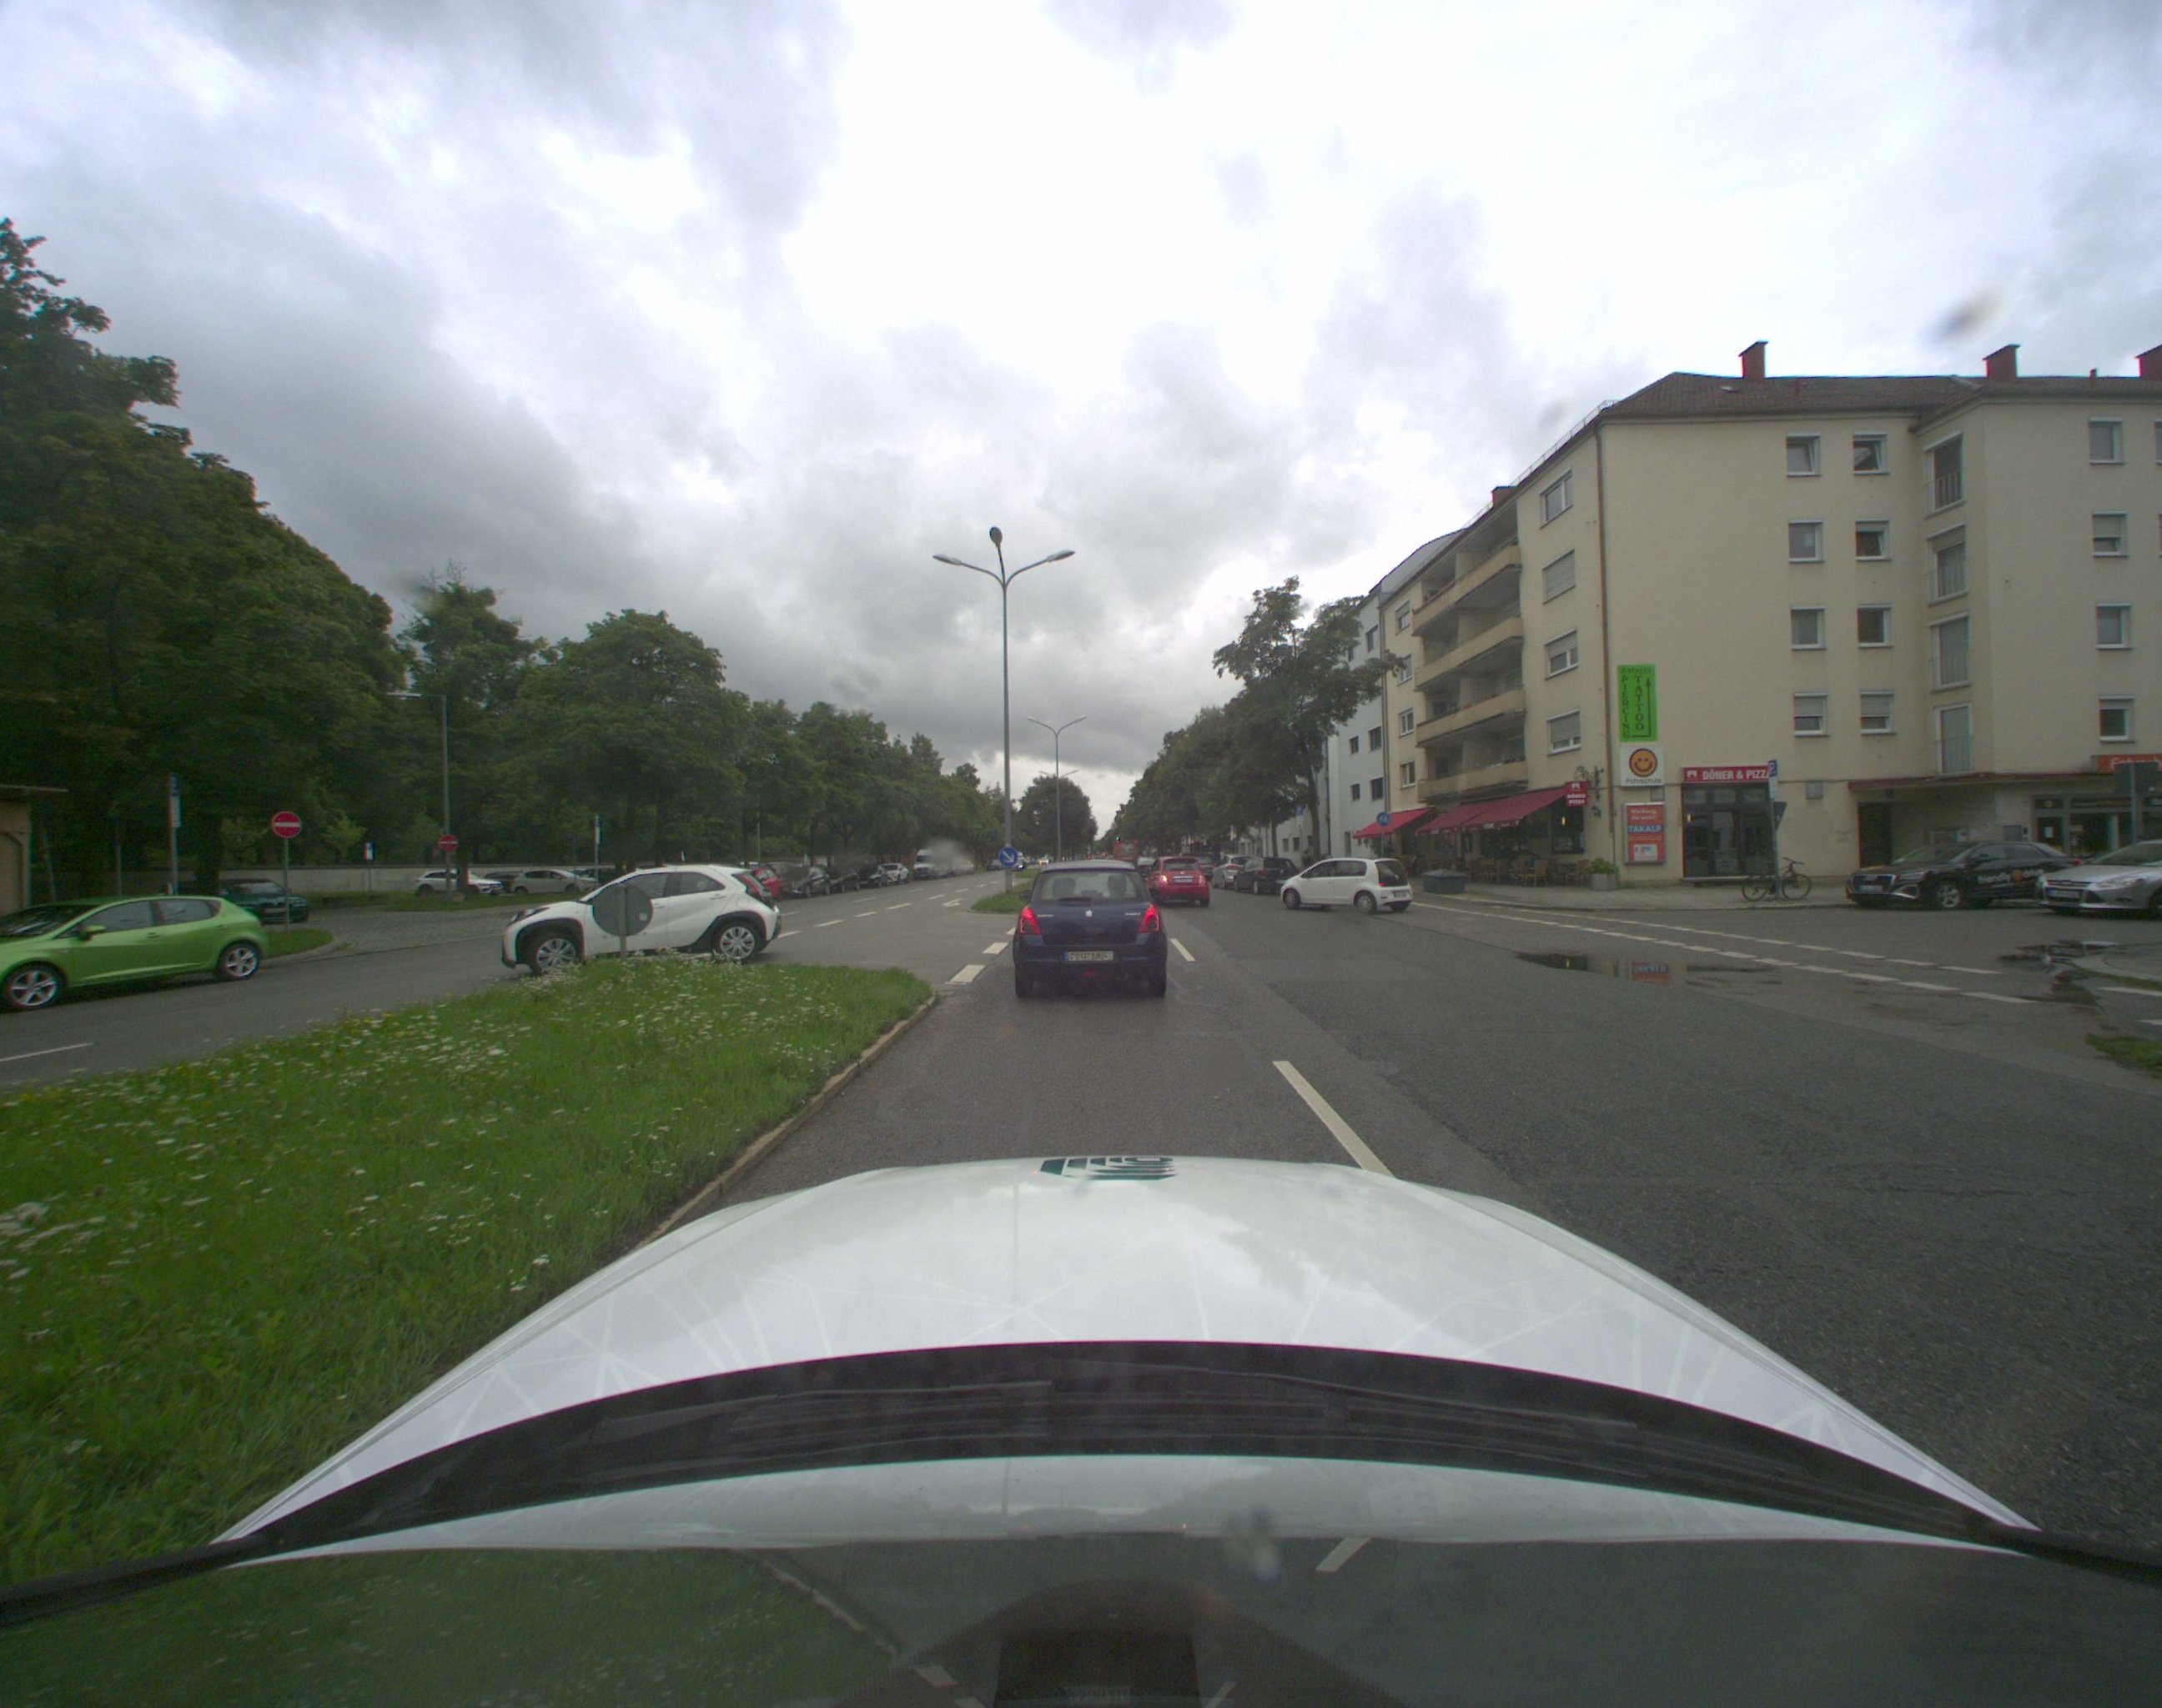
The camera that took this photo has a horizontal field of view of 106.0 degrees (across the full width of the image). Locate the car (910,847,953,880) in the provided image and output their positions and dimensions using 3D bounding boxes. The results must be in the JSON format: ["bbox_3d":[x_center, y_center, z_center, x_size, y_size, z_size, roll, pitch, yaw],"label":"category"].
[{"bbox_3d":[-12.813,0.781,70.335,2.132,2.643,7.107,-3,0,2],"label":"car"}]

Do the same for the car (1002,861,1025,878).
[{"bbox_3d":[-6.597,1.503,80.085,1.809,1.448,4.782,-2,0,0],"label":"car"}]

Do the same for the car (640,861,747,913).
[{"bbox_3d":[-13.781,1.129,29.254,1.815,1.700,4.238,-1,-1,0],"label":"car"}]

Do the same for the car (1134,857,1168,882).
[{"bbox_3d":[4.305,0.926,50.647,1.815,1.477,4.691,1,0,1],"label":"car"}]

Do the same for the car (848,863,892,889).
[{"bbox_3d":[-13.234,1.378,51.265,1.817,1.447,3.996,-3,0,-3],"label":"car"}]

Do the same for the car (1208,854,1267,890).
[{"bbox_3d":[7.124,0.774,37.408,1.823,1.522,4.523,-1,0,0],"label":"car"}]

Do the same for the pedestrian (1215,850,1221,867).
[{"bbox_3d":[14.269,0.502,84.920,0.498,1.733,0.733,-1,-1,1],"label":"pedestrian"}]

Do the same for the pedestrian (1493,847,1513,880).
[{"bbox_3d":[16.383,0.354,31.625,0.536,1.268,0.487,-1,0,0],"label":"pedestrian"}]

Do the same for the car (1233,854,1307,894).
[{"bbox_3d":[7.387,0.748,32.174,1.825,1.473,3.883,-1,0,-4],"label":"car"}]

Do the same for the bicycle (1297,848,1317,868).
[{"bbox_3d":[16.399,0.286,59.097,0.700,1.407,2.593,-3,0,1],"label":"bicycle"}]

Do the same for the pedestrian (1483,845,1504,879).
[{"bbox_3d":[16.643,0.326,32.844,0.536,1.339,0.552,-1,0,0],"label":"pedestrian"}]

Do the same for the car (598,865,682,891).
[{"bbox_3d":[-26.803,1.432,49.628,3.980,1.442,1.997,-1,0,-5],"label":"car"}]

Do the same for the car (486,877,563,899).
[{"bbox_3d":[-37.538,2.292,54.967,3.967,1.372,1.881,-1,0,6],"label":"car"}]

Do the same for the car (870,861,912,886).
[{"bbox_3d":[-13.120,1.347,56.373,1.815,1.527,4.298,-3,-1,0],"label":"car"}]

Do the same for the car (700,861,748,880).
[{"bbox_3d":[-40.370,1.887,92.182,4.490,2.034,2.000,-1,0,0],"label":"car"}]

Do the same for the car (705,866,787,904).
[{"bbox_3d":[-13.992,1.255,34.237,1.815,1.479,3.809,-1,-1,0],"label":"car"}]

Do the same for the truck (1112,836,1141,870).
[{"bbox_3d":[5.170,-0.089,95.200,3.030,3.557,13.681,-1,0,2],"label":"truck"}]

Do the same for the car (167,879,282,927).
[{"bbox_3d":[-28.362,1.572,26.953,3.809,1.409,1.871,-1,0,32],"label":"car"}]

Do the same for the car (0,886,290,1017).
[{"bbox_3d":[-14.276,1.325,11.755,1.634,1.499,4.002,-3,0,2],"label":"car"}]

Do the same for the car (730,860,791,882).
[{"bbox_3d":[-24.761,1.275,62.994,3.971,1.570,1.816,-1,0,2],"label":"car"}]

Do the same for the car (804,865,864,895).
[{"bbox_3d":[-13.400,1.401,44.420,1.814,1.409,4.004,-3,0,3],"label":"car"}]

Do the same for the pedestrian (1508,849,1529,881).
[{"bbox_3d":[16.412,0.411,30.560,0.536,1.214,0.487,-1,0,1],"label":"pedestrian"}]

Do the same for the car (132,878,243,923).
[{"bbox_3d":[-31.952,1.612,29.087,4.411,1.409,1.871,-1,0,32],"label":"car"}]

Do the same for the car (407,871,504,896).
[{"bbox_3d":[-38.417,1.797,50.107,4.486,1.442,2.002,-1,0,3],"label":"car"}]

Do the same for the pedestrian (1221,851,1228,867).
[{"bbox_3d":[14.950,0.522,84.777,0.547,1.629,0.641,-3,-1,1],"label":"pedestrian"}]

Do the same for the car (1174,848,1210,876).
[{"bbox_3d":[7.460,0.525,55.254,1.823,1.746,4.507,-1,0,0],"label":"car"}]

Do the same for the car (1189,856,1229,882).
[{"bbox_3d":[7.814,0.892,50.014,1.823,1.522,3.770,-1,0,0],"label":"car"}]

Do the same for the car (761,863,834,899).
[{"bbox_3d":[-13.496,1.243,39.022,1.814,1.599,4.115,-1,0,3],"label":"car"}]

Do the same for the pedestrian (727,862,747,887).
[{"bbox_3d":[-20.923,1.229,49.598,0.792,1.495,0.856,-2,0,1],"label":"pedestrian"}]

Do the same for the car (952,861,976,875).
[{"bbox_3d":[-12.316,1.489,86.008,1.851,1.491,4.141,-1,-1,0],"label":"car"}]

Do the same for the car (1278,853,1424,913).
[{"bbox_3d":[7.286,0.750,22.202,1.700,1.490,3.397,-1,0,-36],"label":"car"}]

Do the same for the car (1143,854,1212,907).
[{"bbox_3d":[2.940,0.776,25.576,1.712,1.501,4.301,-1,0,1],"label":"car"}]

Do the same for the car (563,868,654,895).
[{"bbox_3d":[-27.073,1.551,46.786,3.980,1.442,1.997,-1,0,-5],"label":"car"}]

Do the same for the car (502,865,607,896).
[{"bbox_3d":[-26.686,1.333,41.375,3.980,1.442,1.997,-1,0,-5],"label":"car"}]

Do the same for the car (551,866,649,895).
[{"bbox_3d":[-26.157,1.427,44.381,4.123,1.442,1.999,-1,0,-1],"label":"car"}]

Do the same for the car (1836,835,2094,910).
[{"bbox_3d":[19.631,0.396,18.208,3.913,1.519,1.730,-1,0,-1],"label":"car"}]

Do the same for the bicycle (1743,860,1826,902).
[{"bbox_3d":[17.546,0.665,20.340,1.532,1.011,0.554,-1,0,4],"label":"bicycle"}]

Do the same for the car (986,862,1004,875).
[{"bbox_3d":[-11.521,1.883,109.097,1.881,1.537,4.313,-4,0,-1],"label":"car"}]

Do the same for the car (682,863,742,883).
[{"bbox_3d":[-29.910,1.538,66.120,3.980,1.442,1.997,-1,0,-5],"label":"car"}]

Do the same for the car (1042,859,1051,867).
[{"bbox_3d":[-7.166,1.792,168.928,1.756,1.537,4.312,-4,0,-1],"label":"car"}]

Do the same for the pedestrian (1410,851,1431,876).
[{"bbox_3d":[16.101,0.440,38.648,0.741,1.163,0.647,-1,0,1],"label":"pedestrian"}]

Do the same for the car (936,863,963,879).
[{"bbox_3d":[-12.652,1.614,78.468,1.851,1.491,4.251,-1,-1,0],"label":"car"}]

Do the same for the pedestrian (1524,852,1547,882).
[{"bbox_3d":[16.210,0.477,29.078,0.536,1.054,0.487,-1,0,1],"label":"pedestrian"}]

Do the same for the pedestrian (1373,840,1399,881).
[{"bbox_3d":[14.462,0.301,38.634,0.870,1.929,0.757,-1,-1,-15],"label":"pedestrian"}]

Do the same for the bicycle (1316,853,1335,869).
[{"bbox_3d":[16.446,0.471,54.799,0.619,1.046,2.196,-5,0,2],"label":"bicycle"}]

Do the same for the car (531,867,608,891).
[{"bbox_3d":[-38.416,1.853,61.220,4.490,1.625,2.000,-1,0,0],"label":"car"}]

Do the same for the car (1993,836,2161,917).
[{"bbox_3d":[20.641,0.379,15.487,4.189,1.442,2.002,-1,0,4],"label":"car"}]

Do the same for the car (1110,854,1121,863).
[{"bbox_3d":[6.003,0.831,143.099,1.823,1.522,3.771,-1,0,1],"label":"car"}]

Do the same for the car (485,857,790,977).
[{"bbox_3d":[-6.497,0.859,12.399,3.716,1.553,1.818,-1,0,-16],"label":"car"}]

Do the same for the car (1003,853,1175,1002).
[{"bbox_3d":[0.156,0.767,10.439,1.746,1.505,4.002,-1,0,2],"label":"car"}]
